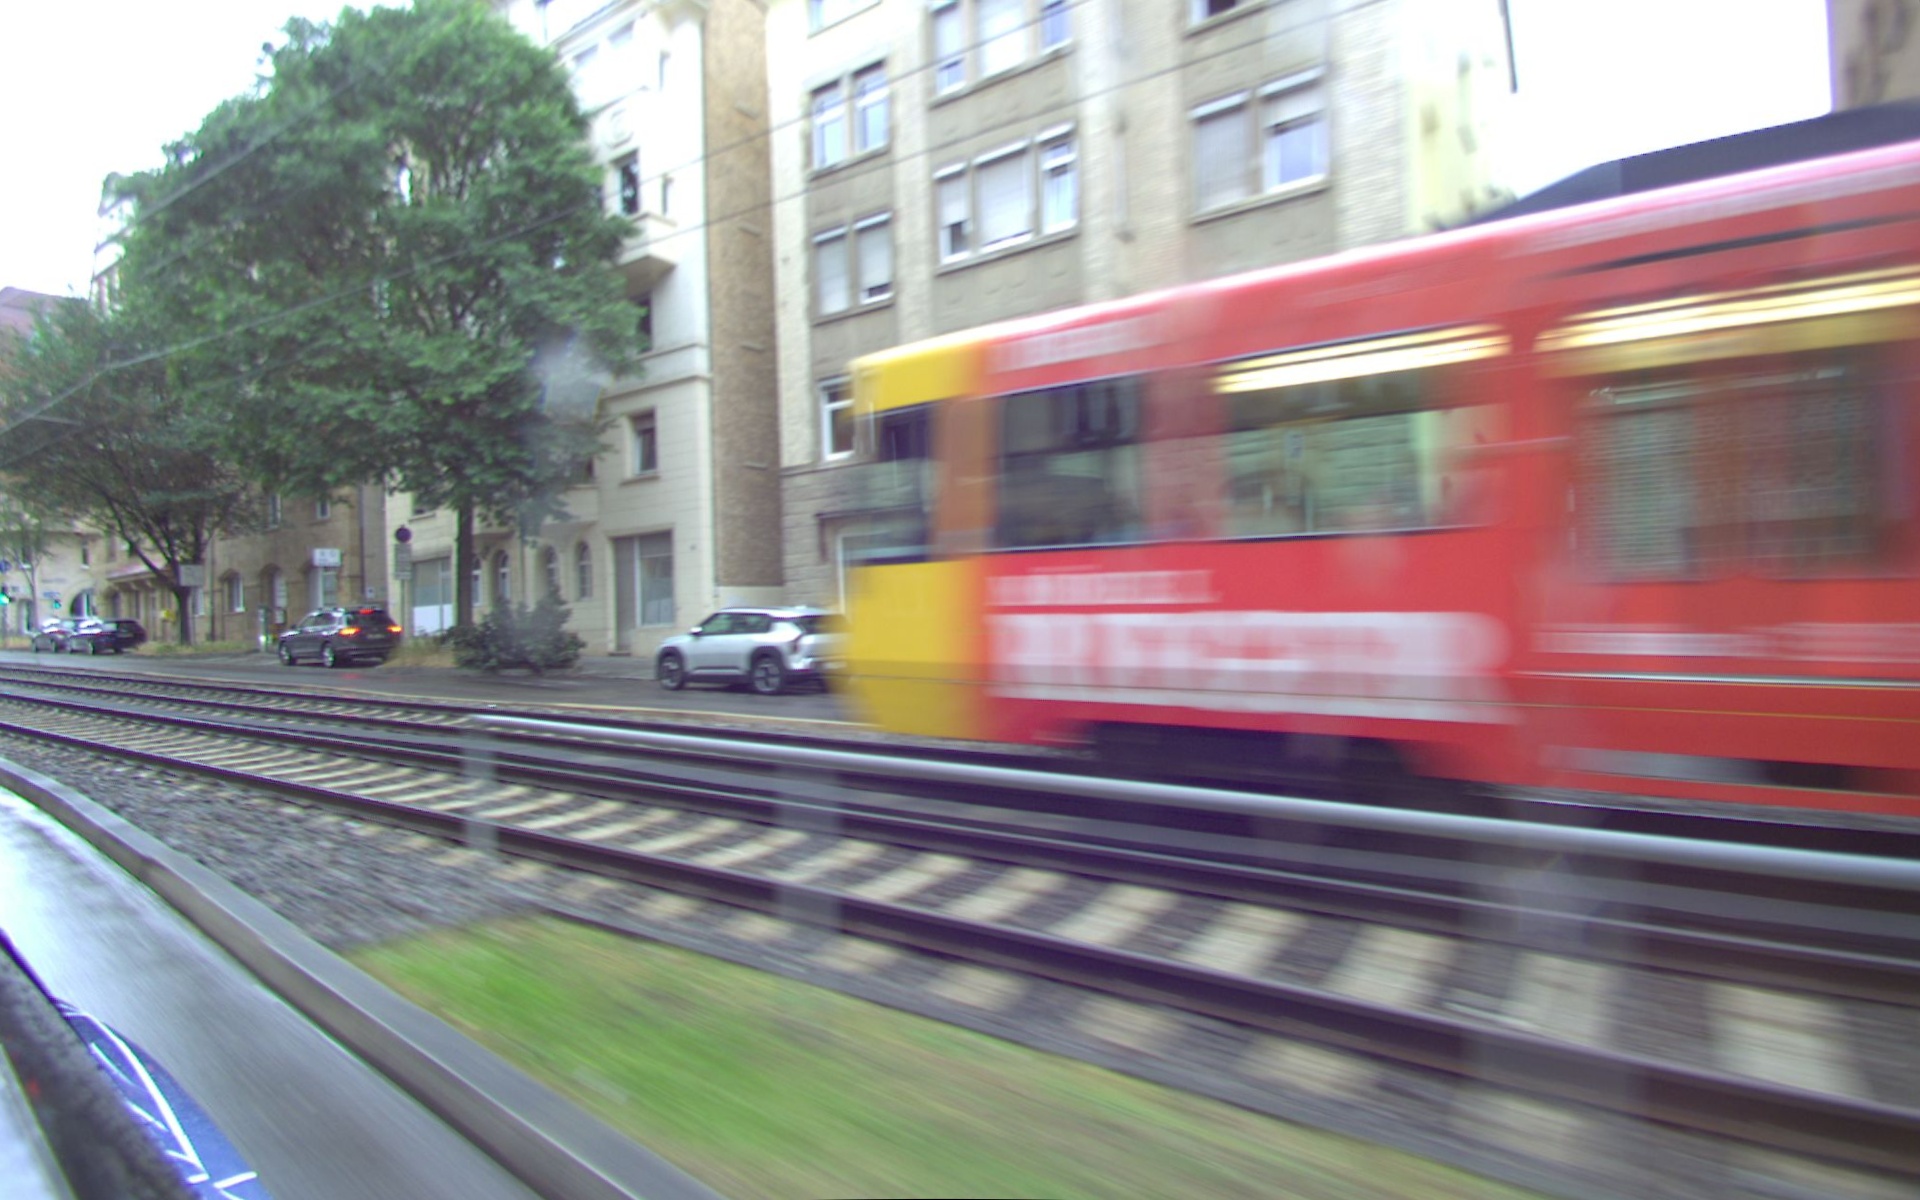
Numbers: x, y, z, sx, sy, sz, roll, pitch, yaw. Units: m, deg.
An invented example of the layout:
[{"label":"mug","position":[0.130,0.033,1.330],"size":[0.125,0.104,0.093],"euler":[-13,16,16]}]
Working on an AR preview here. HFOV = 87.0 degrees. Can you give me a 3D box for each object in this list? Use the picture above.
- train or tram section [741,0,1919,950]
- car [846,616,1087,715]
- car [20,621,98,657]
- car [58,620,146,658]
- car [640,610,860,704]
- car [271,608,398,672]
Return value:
[{"label":"train or tram section","position":[6.847,-0.546,3.842],"size":[19.252,3.950,2.691],"euler":[-1,-1,35]},{"label":"car","position":[0.056,0.978,16.234],"size":[3.626,1.414,1.629],"euler":[-1,-2,37]},{"label":"car","position":[-39.737,1.685,44.604],"size":[4.156,1.501,1.630],"euler":[-1,-1,35]},{"label":"car","position":[-34.833,1.562,41.067],"size":[4.156,1.445,1.700],"euler":[-1,-1,35]},{"label":"car","position":[-4.035,1.007,19.100],"size":[4.331,1.593,1.629],"euler":[-1,-2,37]},{"label":"car","position":[-17.999,1.129,29.089],"size":[4.089,1.719,1.630],"euler":[-1,-1,35]}]
